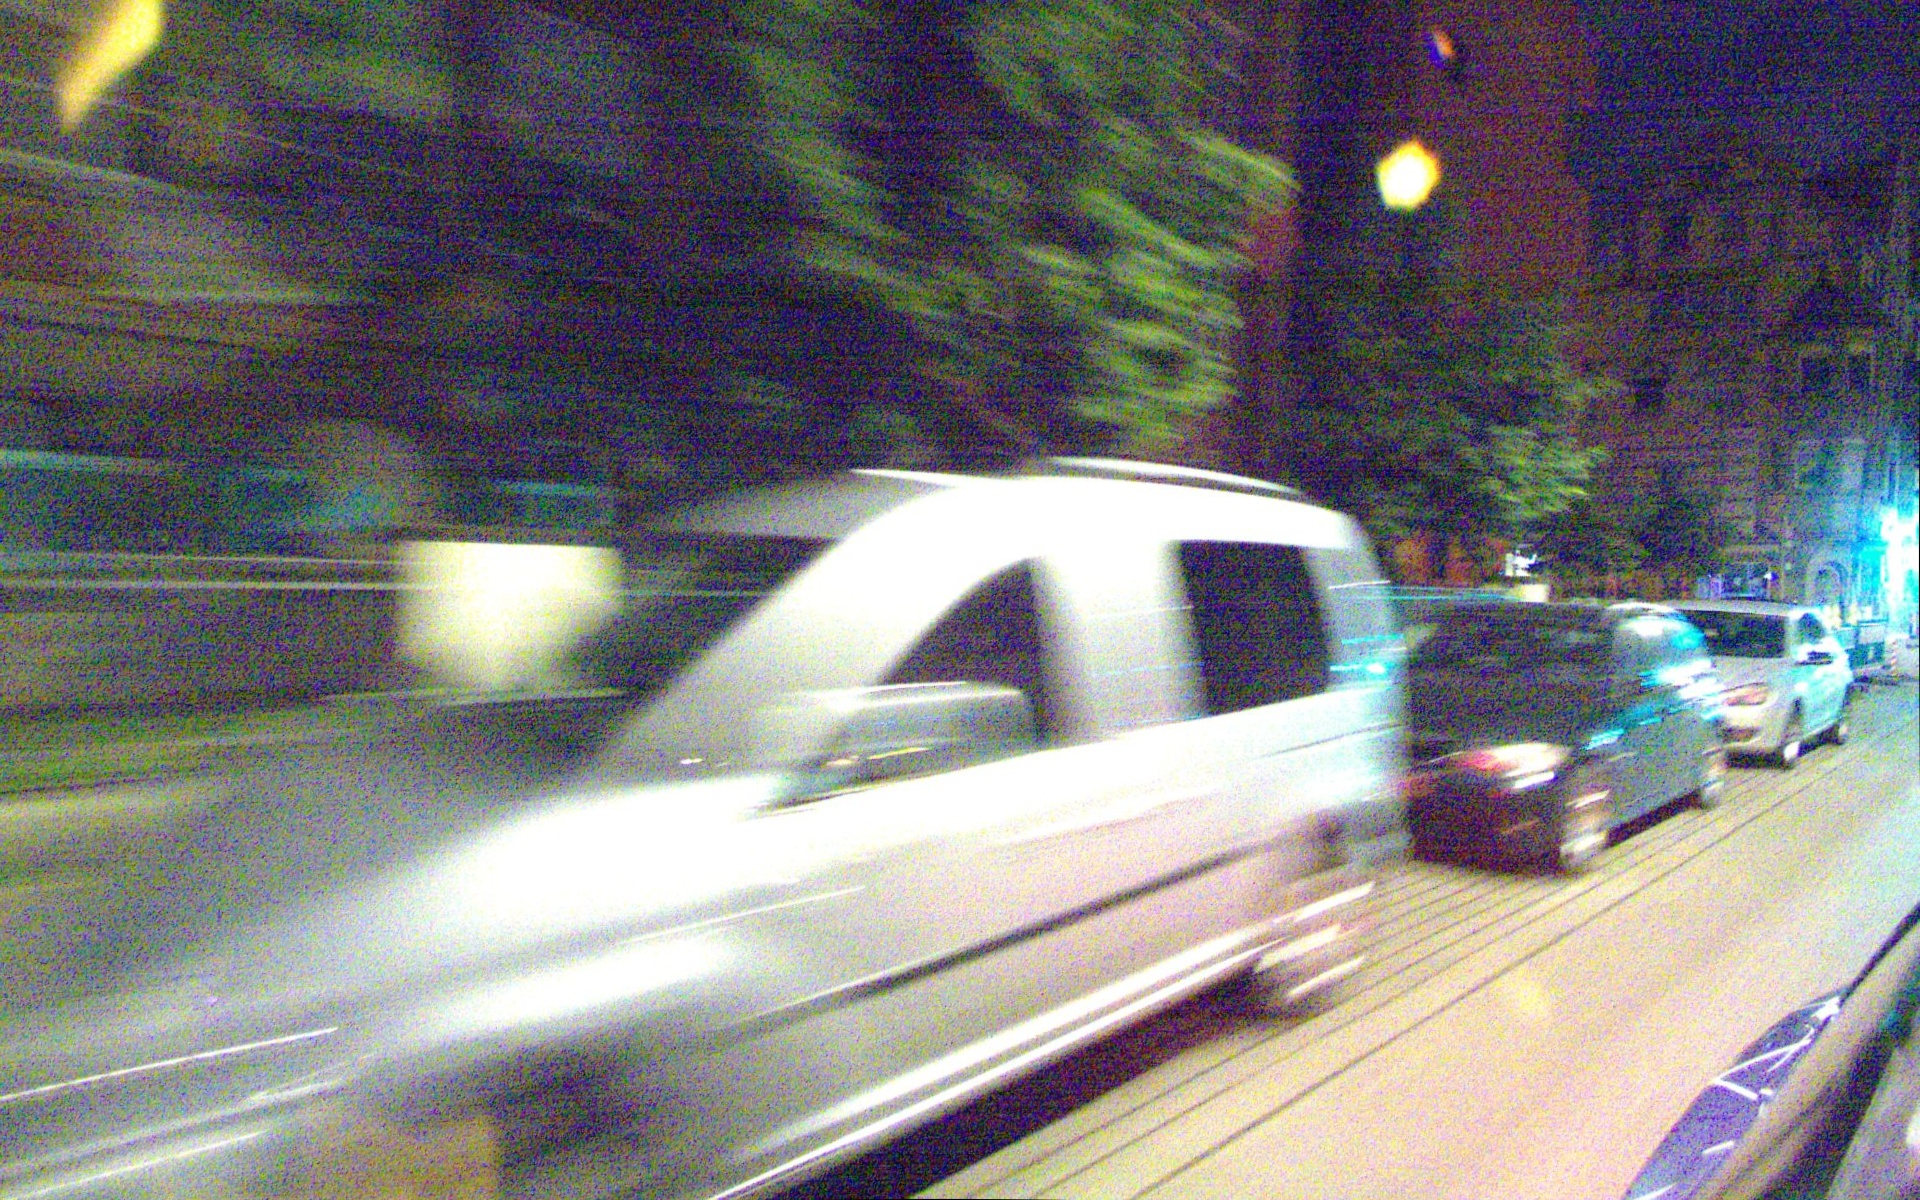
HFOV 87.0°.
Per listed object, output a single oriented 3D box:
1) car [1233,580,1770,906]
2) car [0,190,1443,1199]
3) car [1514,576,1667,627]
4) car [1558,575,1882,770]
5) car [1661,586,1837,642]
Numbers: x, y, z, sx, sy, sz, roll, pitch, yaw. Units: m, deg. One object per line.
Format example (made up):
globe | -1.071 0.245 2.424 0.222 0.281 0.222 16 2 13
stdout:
car | 3.827 0.658 6.766 4.366 1.438 1.689 0 3 -41
car | -0.305 0.421 3.134 4.243 1.877 1.738 0 3 -43
car | 22.121 0.013 35.623 1.821 1.485 4.197 0 4 -43
car | 7.814 0.586 10.280 3.930 1.495 1.744 0 5 -41
car | 24.350 0.374 31.332 1.821 1.439 4.021 -2 4 -42
